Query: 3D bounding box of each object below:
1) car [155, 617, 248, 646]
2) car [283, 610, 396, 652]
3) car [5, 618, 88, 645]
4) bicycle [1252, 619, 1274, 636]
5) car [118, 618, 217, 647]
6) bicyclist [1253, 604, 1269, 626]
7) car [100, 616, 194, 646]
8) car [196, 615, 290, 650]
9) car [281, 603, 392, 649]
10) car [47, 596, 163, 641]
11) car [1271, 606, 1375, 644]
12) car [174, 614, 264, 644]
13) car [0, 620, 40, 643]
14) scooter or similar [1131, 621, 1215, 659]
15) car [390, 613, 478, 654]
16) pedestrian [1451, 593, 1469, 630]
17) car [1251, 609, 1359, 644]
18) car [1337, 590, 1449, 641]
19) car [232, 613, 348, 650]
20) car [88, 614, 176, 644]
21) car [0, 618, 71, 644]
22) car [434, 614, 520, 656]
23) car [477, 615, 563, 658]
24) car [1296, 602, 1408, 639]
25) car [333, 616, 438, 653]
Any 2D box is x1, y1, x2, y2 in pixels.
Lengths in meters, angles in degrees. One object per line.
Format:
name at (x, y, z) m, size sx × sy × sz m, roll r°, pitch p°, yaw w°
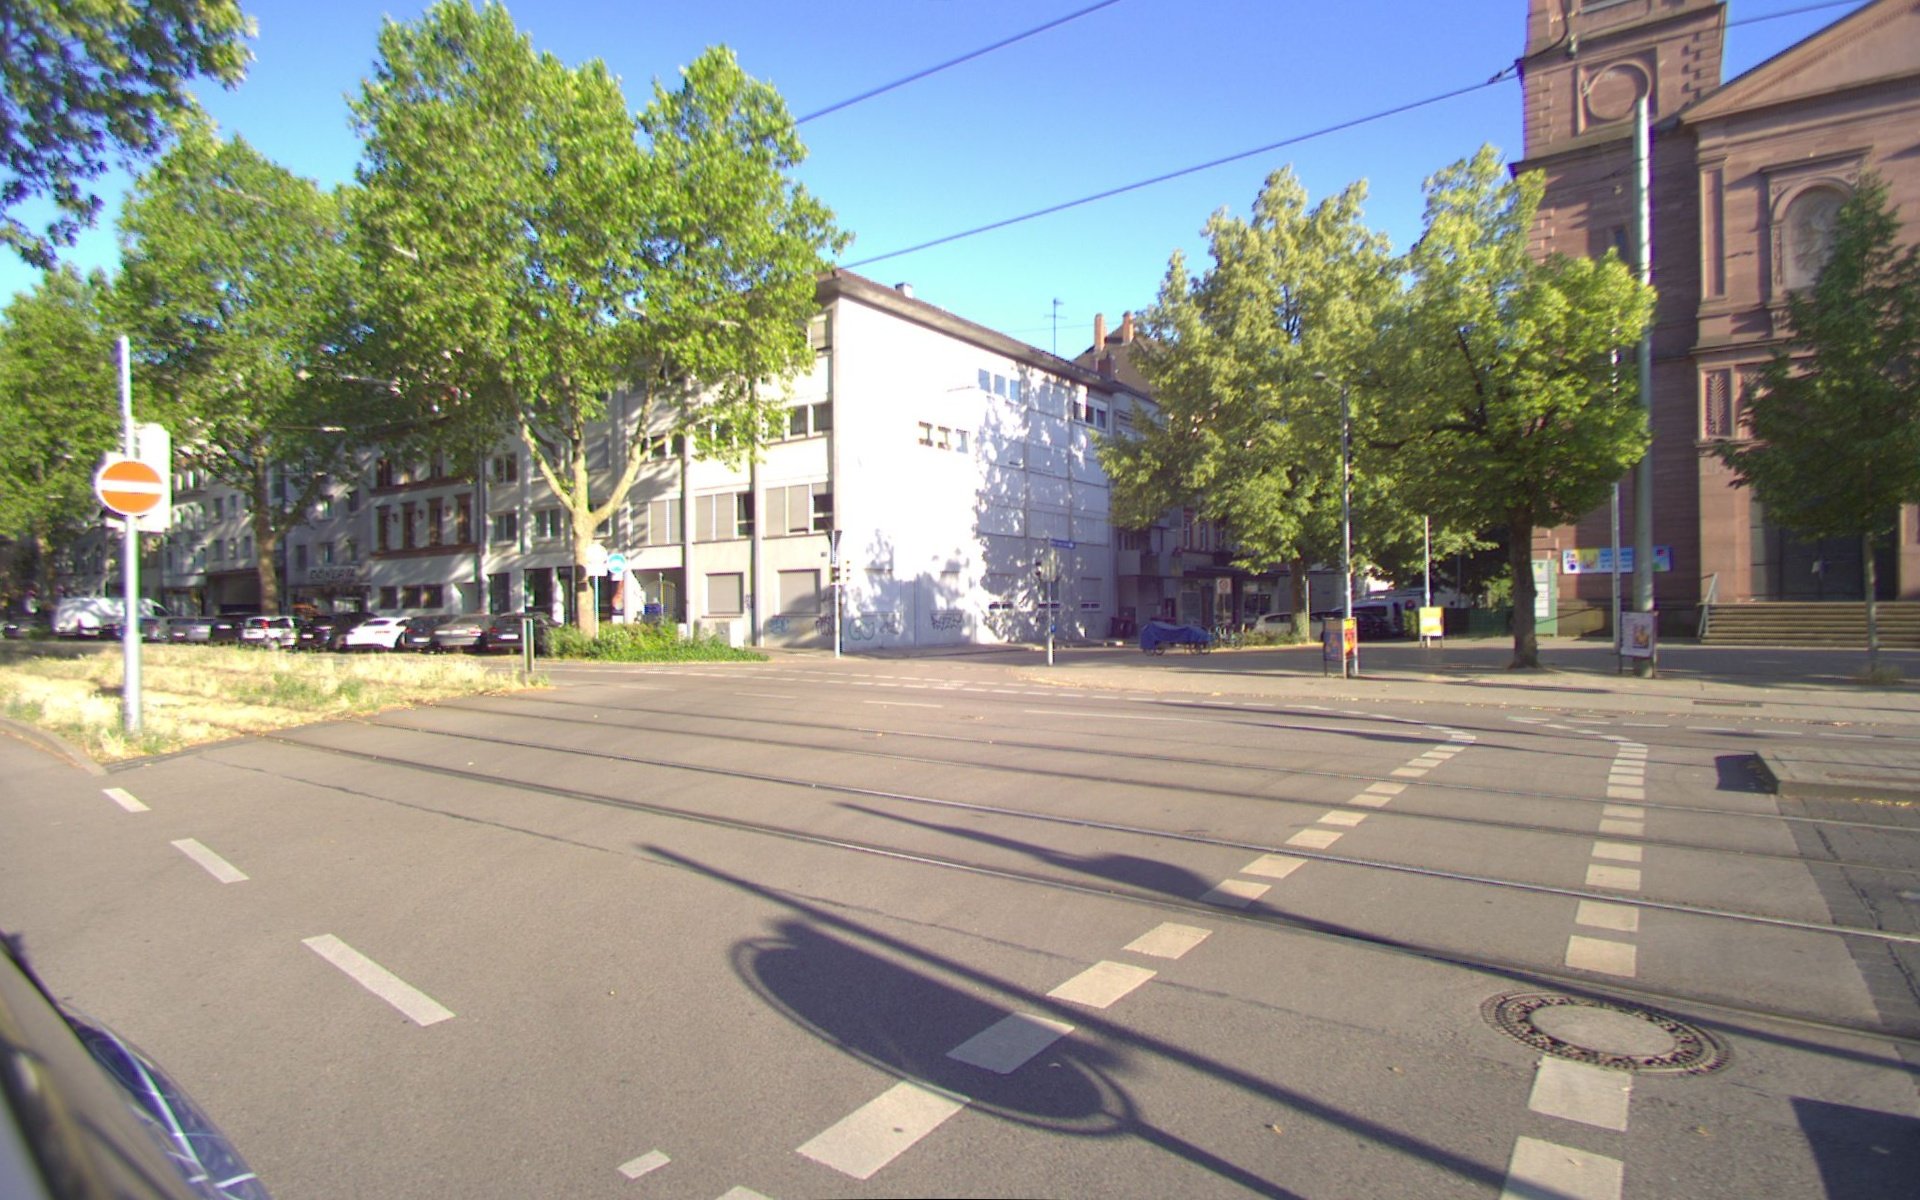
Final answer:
car at (-40.930, 1.649, 54.724) m, size 1.881 × 1.468 × 4.257 m, roll -1°, pitch -1°, yaw 0°
car at (-25.993, 1.265, 42.616) m, size 2.123 × 1.696 × 4.256 m, roll -1°, pitch -1°, yaw 1°
car at (-64.358, 2.183, 71.361) m, size 1.977 × 1.829 × 3.989 m, roll -1°, pitch -1°, yaw 9°
bicycle at (18.443, 1.693, 61.570) m, size 0.632 × 0.987 × 1.965 m, roll -1°, pitch -1°, yaw 36°
car at (-44.498, 1.816, 56.927) m, size 1.982 × 1.529 × 3.980 m, roll -1°, pitch -1°, yaw 15°
bicyclist at (18.269, 0.905, 61.397) m, size 0.632 × 1.341 × 0.957 m, roll -1°, pitch -1°, yaw 36°
car at (-47.071, 1.757, 58.698) m, size 1.977 × 1.630 × 3.989 m, roll -1°, pitch -1°, yaw 9°
car at (-35.539, 1.592, 50.298) m, size 1.879 × 1.626 × 4.260 m, roll 0°, pitch -1°, yaw -3°
car at (-27.935, 1.143, 45.476) m, size 1.505 × 1.958 × 4.228 m, roll -1°, pitch -1°, yaw 20°
car at (-54.353, 1.165, 64.513) m, size 2.157 × 2.721 × 5.592 m, roll -1°, pitch -1°, yaw 11°
car at (16.165, 1.109, 45.153) m, size 3.993 × 1.630 × 1.867 m, roll -1°, pitch -1°, yaw 37°
car at (-38.424, 1.482, 52.608) m, size 1.580 × 1.470 × 4.257 m, roll -1°, pitch -1°, yaw 0°
car at (-73.780, 2.393, 77.986) m, size 1.977 × 1.719 × 3.989 m, roll -1°, pitch -1°, yaw 9°
scooter or similar at (6.961, 1.301, 33.149) m, size 2.443 × 1.135 × 1.083 m, roll -4°, pitch -3°, yaw 37°
car at (-20.746, 1.271, 40.092) m, size 1.803 × 1.515 × 3.977 m, roll 0°, pitch -1°, yaw -7°
pedestrian at (24.759, 0.567, 50.098) m, size 0.691 × 1.779 × 0.730 m, roll -1°, pitch -1°, yaw 36°
car at (14.654, 1.139, 43.095) m, size 3.993 × 1.409 × 1.794 m, roll -2°, pitch -1°, yaw 37°
car at (22.708, 0.814, 53.160) m, size 5.104 × 2.537 × 1.975 m, roll -1°, pitch -1°, yaw 37°
car at (-30.002, 1.392, 45.441) m, size 1.631 × 1.569 × 4.228 m, roll -1°, pitch -1°, yaw 20°
car at (-51.773, 1.783, 63.379) m, size 1.977 × 1.829 × 3.989 m, roll -1°, pitch -1°, yaw 9°
car at (-67.097, 2.233, 73.144) m, size 1.977 × 1.829 × 3.989 m, roll -1°, pitch -1°, yaw 9°
car at (-18.060, 1.275, 37.990) m, size 1.715 × 1.443 × 3.977 m, roll -2°, pitch -1°, yaw -7°
car at (-15.564, 1.253, 35.988) m, size 1.745 × 1.442 × 3.977 m, roll 0°, pitch -1°, yaw -7°
car at (18.902, 0.990, 48.922) m, size 4.700 × 1.674 × 1.976 m, roll -1°, pitch -1°, yaw 36°
car at (-23.156, 1.362, 41.021) m, size 2.120 × 1.388 × 4.262 m, roll 0°, pitch -1°, yaw -5°
